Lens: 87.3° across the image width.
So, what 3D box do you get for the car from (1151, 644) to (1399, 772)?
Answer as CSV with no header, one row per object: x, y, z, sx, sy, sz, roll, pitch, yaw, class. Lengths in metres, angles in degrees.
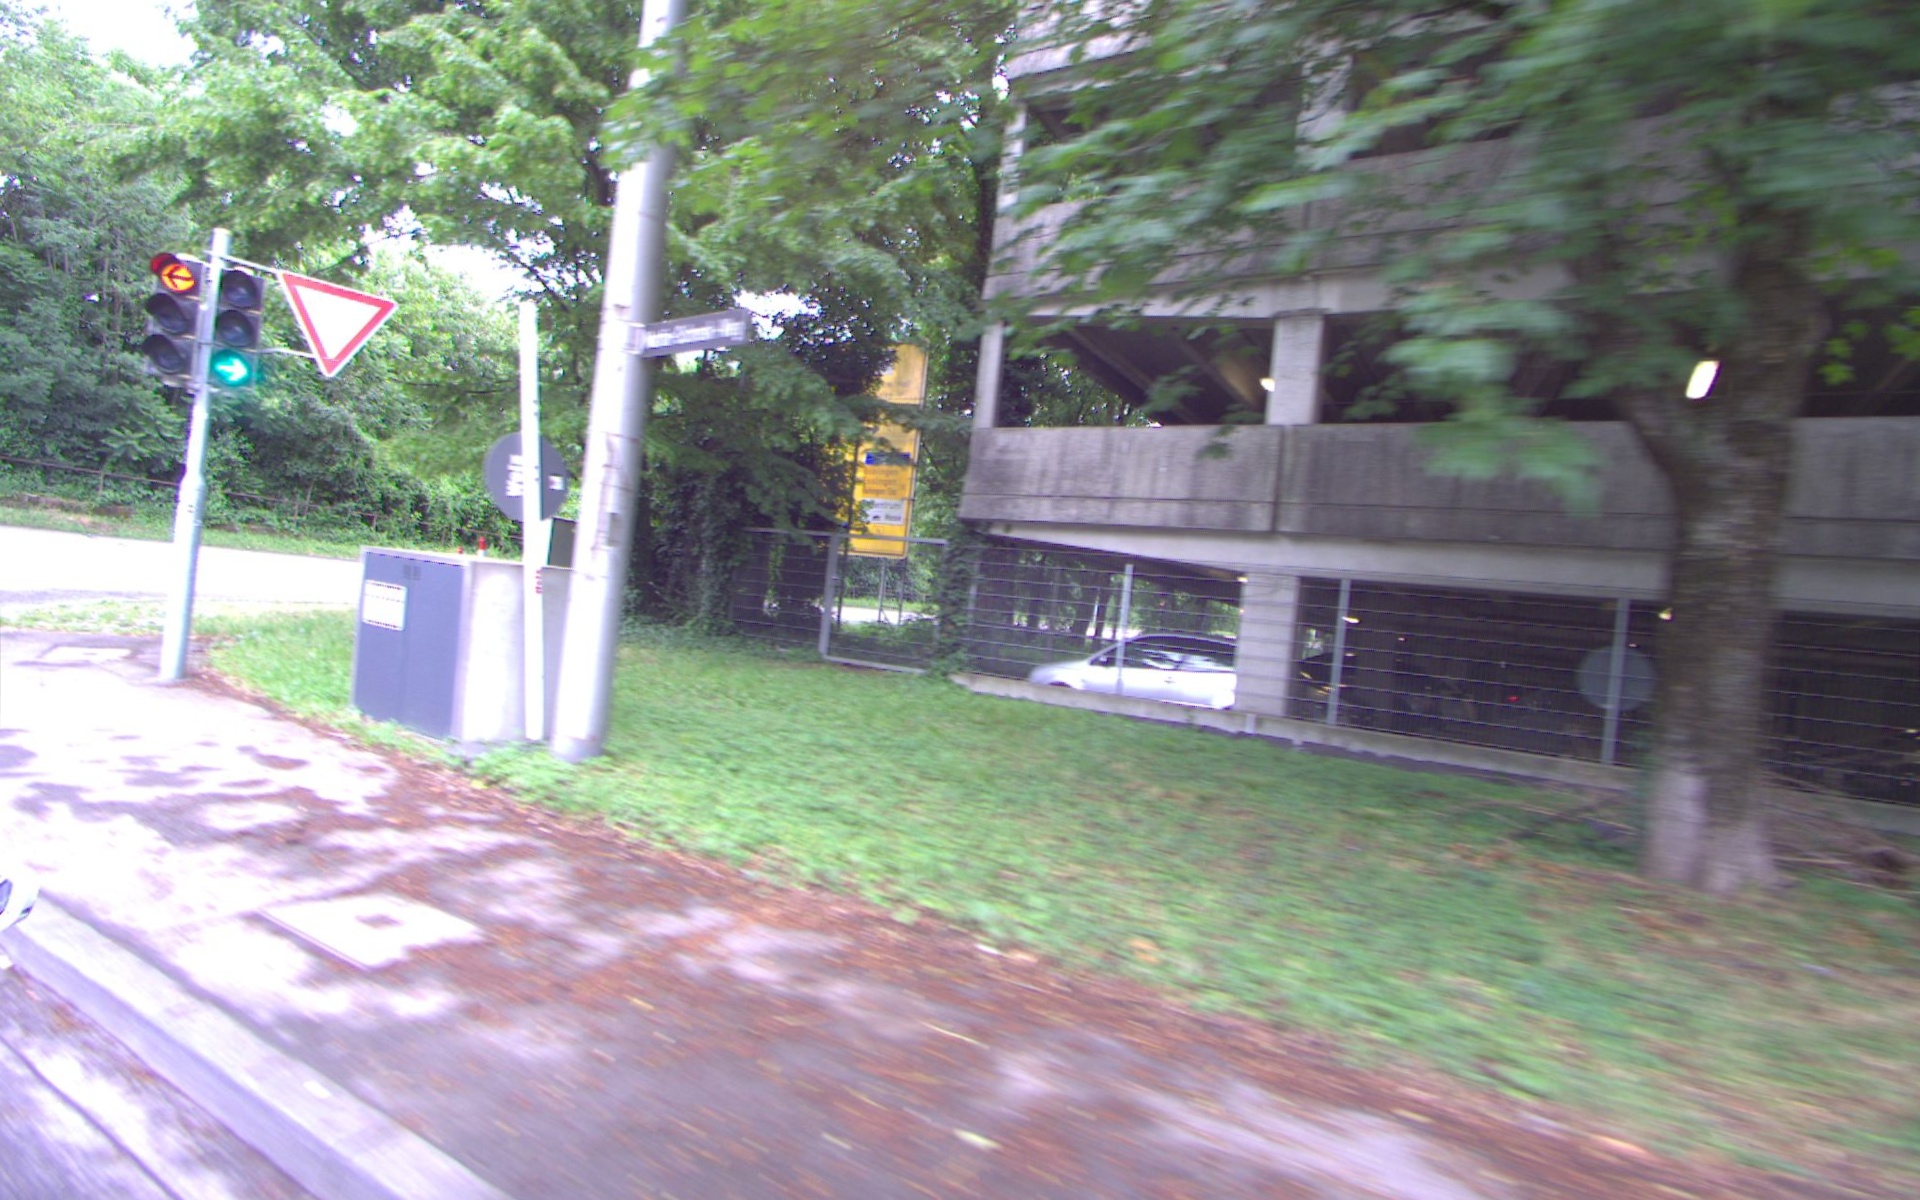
5.391,1.800,17.286,3.658,1.682,1.733,4,-3,31,car

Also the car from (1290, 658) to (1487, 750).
11.886,2.857,27.984,4.658,1.856,1.922,6,-2,33,car

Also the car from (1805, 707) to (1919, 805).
17.924,2.941,18.005,3.935,1.585,1.720,4,-3,30,car

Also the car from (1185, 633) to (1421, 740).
6.679,1.659,19.625,3.934,1.569,1.997,4,-3,31,car

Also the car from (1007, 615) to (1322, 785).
2.655,1.250,13.293,3.658,1.728,1.483,4,-3,32,car

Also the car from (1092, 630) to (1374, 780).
4.100,1.528,15.224,3.707,1.728,1.583,4,-3,32,car

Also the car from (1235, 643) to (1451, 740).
8.198,1.927,21.570,3.934,1.569,1.997,4,-3,31,car
